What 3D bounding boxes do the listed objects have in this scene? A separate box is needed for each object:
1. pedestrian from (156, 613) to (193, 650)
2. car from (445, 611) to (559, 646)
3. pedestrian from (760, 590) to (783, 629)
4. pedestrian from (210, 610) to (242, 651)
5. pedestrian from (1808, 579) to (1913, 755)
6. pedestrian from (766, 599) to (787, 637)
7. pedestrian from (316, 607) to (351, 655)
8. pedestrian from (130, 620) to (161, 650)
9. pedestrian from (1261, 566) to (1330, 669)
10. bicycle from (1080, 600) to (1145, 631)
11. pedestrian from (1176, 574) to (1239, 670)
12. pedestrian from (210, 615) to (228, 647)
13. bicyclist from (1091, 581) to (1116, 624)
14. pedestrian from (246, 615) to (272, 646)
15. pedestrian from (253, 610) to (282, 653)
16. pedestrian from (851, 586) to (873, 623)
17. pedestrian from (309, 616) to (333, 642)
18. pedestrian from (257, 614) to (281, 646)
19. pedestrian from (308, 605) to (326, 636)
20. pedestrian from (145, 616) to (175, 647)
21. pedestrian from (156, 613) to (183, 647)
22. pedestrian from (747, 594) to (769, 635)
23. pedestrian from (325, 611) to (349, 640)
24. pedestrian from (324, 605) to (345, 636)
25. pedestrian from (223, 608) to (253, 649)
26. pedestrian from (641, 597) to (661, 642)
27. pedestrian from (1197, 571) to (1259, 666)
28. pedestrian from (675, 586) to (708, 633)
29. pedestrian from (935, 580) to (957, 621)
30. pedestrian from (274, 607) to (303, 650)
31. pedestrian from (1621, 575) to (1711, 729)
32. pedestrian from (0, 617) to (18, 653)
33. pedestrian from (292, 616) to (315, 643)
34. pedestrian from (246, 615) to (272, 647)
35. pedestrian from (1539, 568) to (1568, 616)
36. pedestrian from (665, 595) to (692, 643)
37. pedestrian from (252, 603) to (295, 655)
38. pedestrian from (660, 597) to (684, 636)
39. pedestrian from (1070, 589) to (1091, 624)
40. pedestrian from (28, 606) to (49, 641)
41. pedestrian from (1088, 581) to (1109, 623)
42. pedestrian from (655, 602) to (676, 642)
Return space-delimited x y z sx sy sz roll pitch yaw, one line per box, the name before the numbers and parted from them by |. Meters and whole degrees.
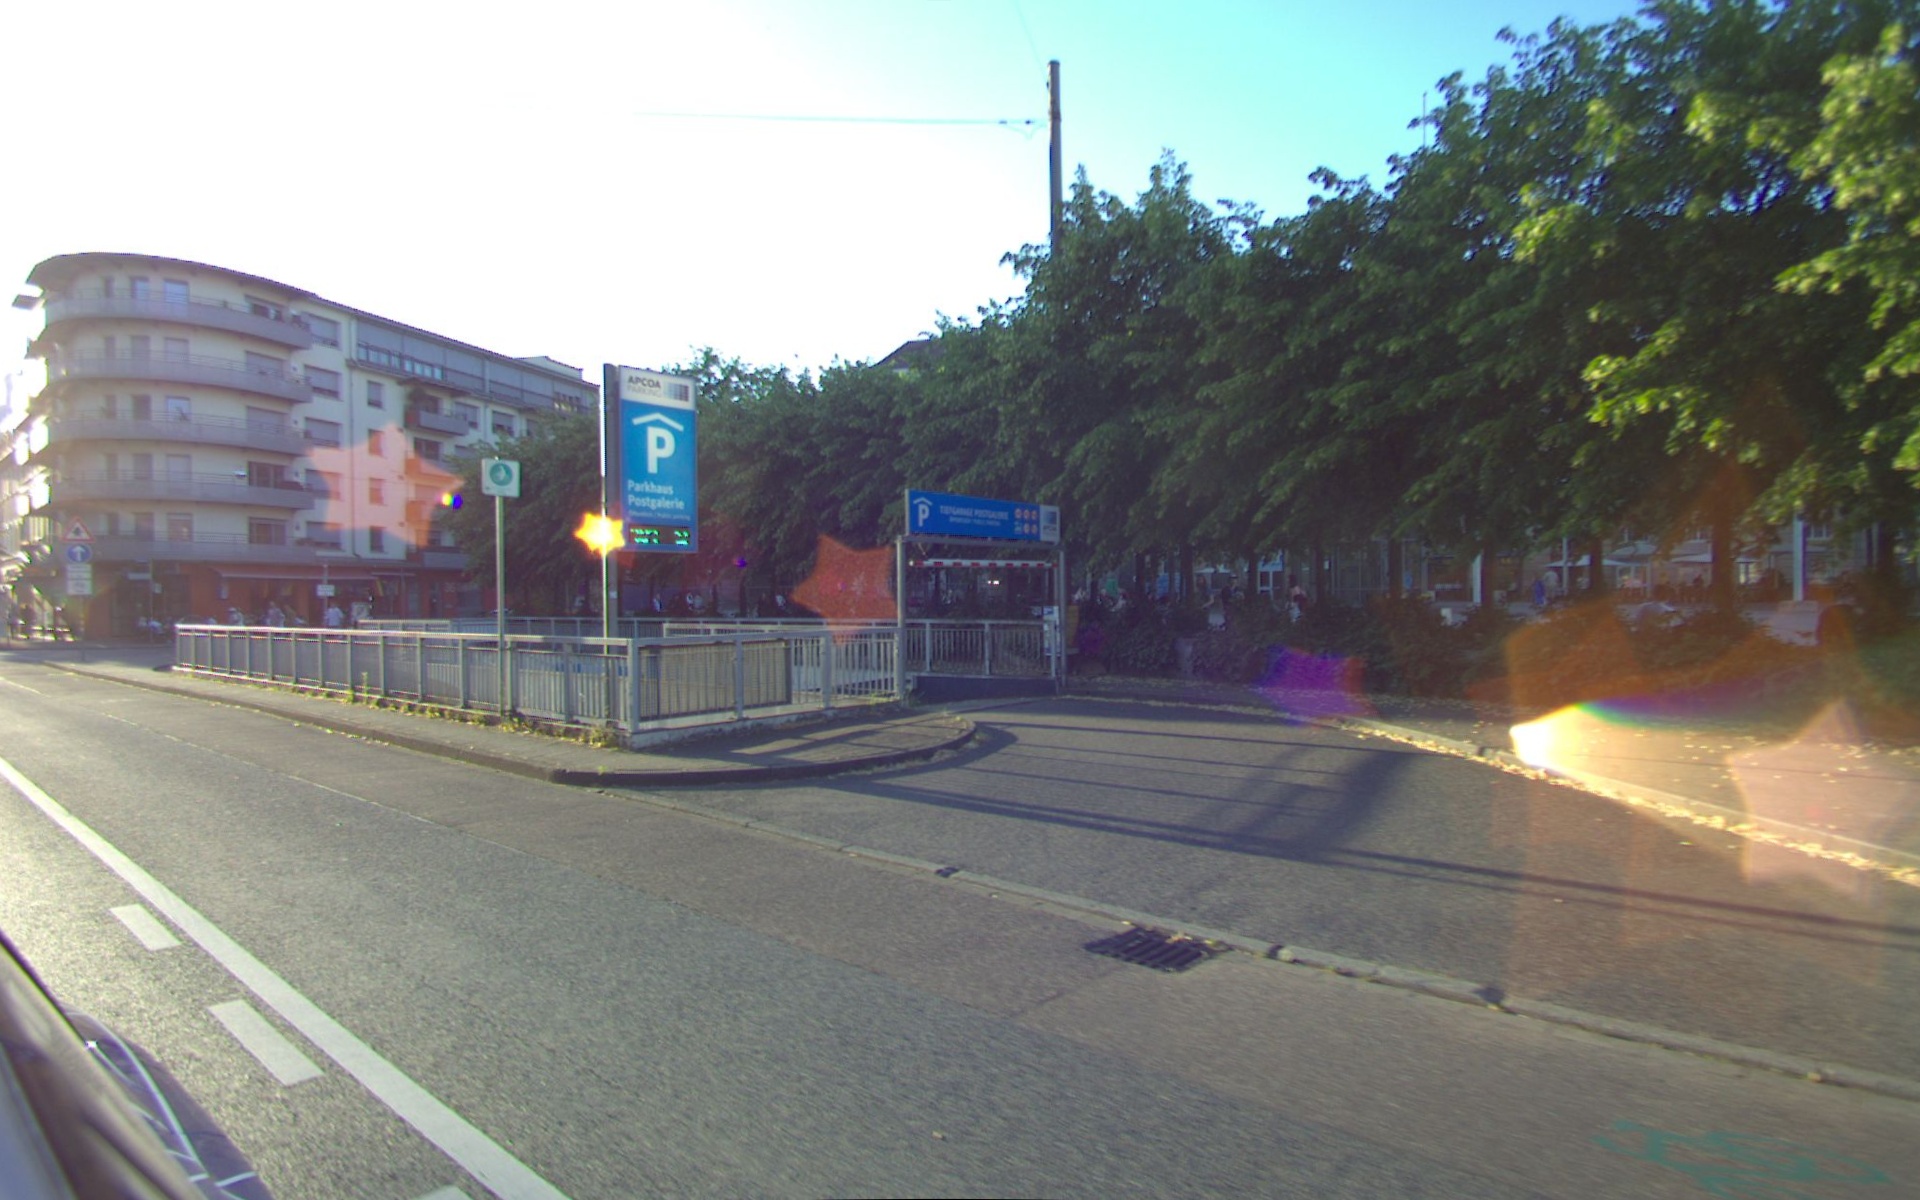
pedestrian | -36.578 1.450 47.126 0.712 1.543 0.684 0 -23 32
car | -21.067 1.306 46.648 4.402 1.441 2.099 -2 -1 11
pedestrian | -7.617 0.390 40.943 0.593 1.554 0.670 -3 -1 44
pedestrian | -33.509 1.384 46.203 0.845 1.807 0.863 -2 -1 19
pedestrian | 10.505 0.749 11.812 0.791 1.963 0.732 -1 0 -36
pedestrian | -8.415 0.825 46.364 0.617 1.740 0.799 -1 -1 16
pedestrian | -24.640 1.213 39.835 0.968 1.807 0.893 -2 -1 -20
pedestrian | -37.216 1.600 46.266 0.675 1.291 0.970 -1 1 -8
pedestrian | 6.781 0.341 20.459 0.899 2.029 0.922 -1 0 -26
bicycle | 5.602 0.578 37.292 2.300 1.110 0.950 -1 0 6
pedestrian | 5.412 0.459 22.157 0.899 2.029 0.922 -1 0 -26
pedestrian | -36.421 1.544 49.766 0.638 1.547 0.754 -1 -1 -40
bicyclist | 5.297 0.093 37.355 0.743 1.521 1.380 -1 0 2
pedestrian | -35.792 1.554 51.659 0.762 1.515 0.779 -1 -1 15
pedestrian | -30.179 1.369 44.105 0.703 1.816 0.884 -2 -1 -8
pedestrian | -5.489 0.248 56.998 0.827 2.029 1.059 -1 0 20
pedestrian | -33.963 1.518 53.817 0.877 1.315 0.842 1 1 37
pedestrian | -35.107 1.522 51.401 0.644 1.539 0.697 3 0 13
pedestrian | -36.038 1.152 56.745 0.606 1.752 0.614 -1 -1 16
pedestrian | -36.440 1.436 46.097 0.758 1.392 0.841 0 0 -9
pedestrian | -37.355 1.415 47.825 0.702 1.547 0.855 -2 -1 -17
pedestrian | -8.050 0.585 40.291 0.786 1.594 0.732 -2 -1 -12
pedestrian | -34.369 1.396 55.825 0.840 1.547 0.715 -2 -1 -5
pedestrian | -35.639 1.154 57.670 0.712 1.733 0.665 -1 -1 16
pedestrian | -32.514 1.298 45.569 0.806 1.807 0.732 -2 -1 19
pedestrian | -12.325 0.772 40.414 0.676 1.759 0.717 -2 -1 -12
pedestrian | 5.921 0.396 22.415 0.899 2.029 0.922 -1 0 -26
pedestrian | -10.876 0.395 41.061 0.881 1.867 0.981 -2 -1 14
pedestrian | -0.594 0.021 44.060 0.696 1.740 0.916 -1 -1 16
pedestrian | -30.023 1.280 45.227 0.704 1.891 0.852 -2 -1 0
pedestrian | 9.393 0.662 13.461 0.791 1.963 0.732 -1 0 -36
pedestrian | -53.537 1.960 56.890 0.739 1.963 0.722 -1 0 36
pedestrian | -34.221 1.526 52.737 0.649 1.355 0.746 1 0 14
pedestrian | -35.031 1.520 50.584 0.707 1.547 0.756 3 0 13
pedestrian | 24.714 -0.335 42.163 0.791 1.963 0.732 -1 0 -31
pedestrian | -11.147 0.746 40.108 0.768 1.889 0.716 -1 -1 -37
pedestrian | -25.613 1.089 37.759 0.977 1.898 0.884 -2 -1 19
pedestrian | -13.643 0.775 47.985 0.756 1.795 0.793 -1 0 19
pedestrian | 4.968 0.266 41.749 0.730 1.390 1.262 -1 0 13
pedestrian | -52.821 1.354 58.002 0.803 1.963 0.722 -1 0 36
pedestrian | 5.672 0.077 41.525 0.701 1.660 1.262 -1 0 14
pedestrian | -11.446 0.847 39.351 0.704 1.497 0.605 -2 -1 -11
